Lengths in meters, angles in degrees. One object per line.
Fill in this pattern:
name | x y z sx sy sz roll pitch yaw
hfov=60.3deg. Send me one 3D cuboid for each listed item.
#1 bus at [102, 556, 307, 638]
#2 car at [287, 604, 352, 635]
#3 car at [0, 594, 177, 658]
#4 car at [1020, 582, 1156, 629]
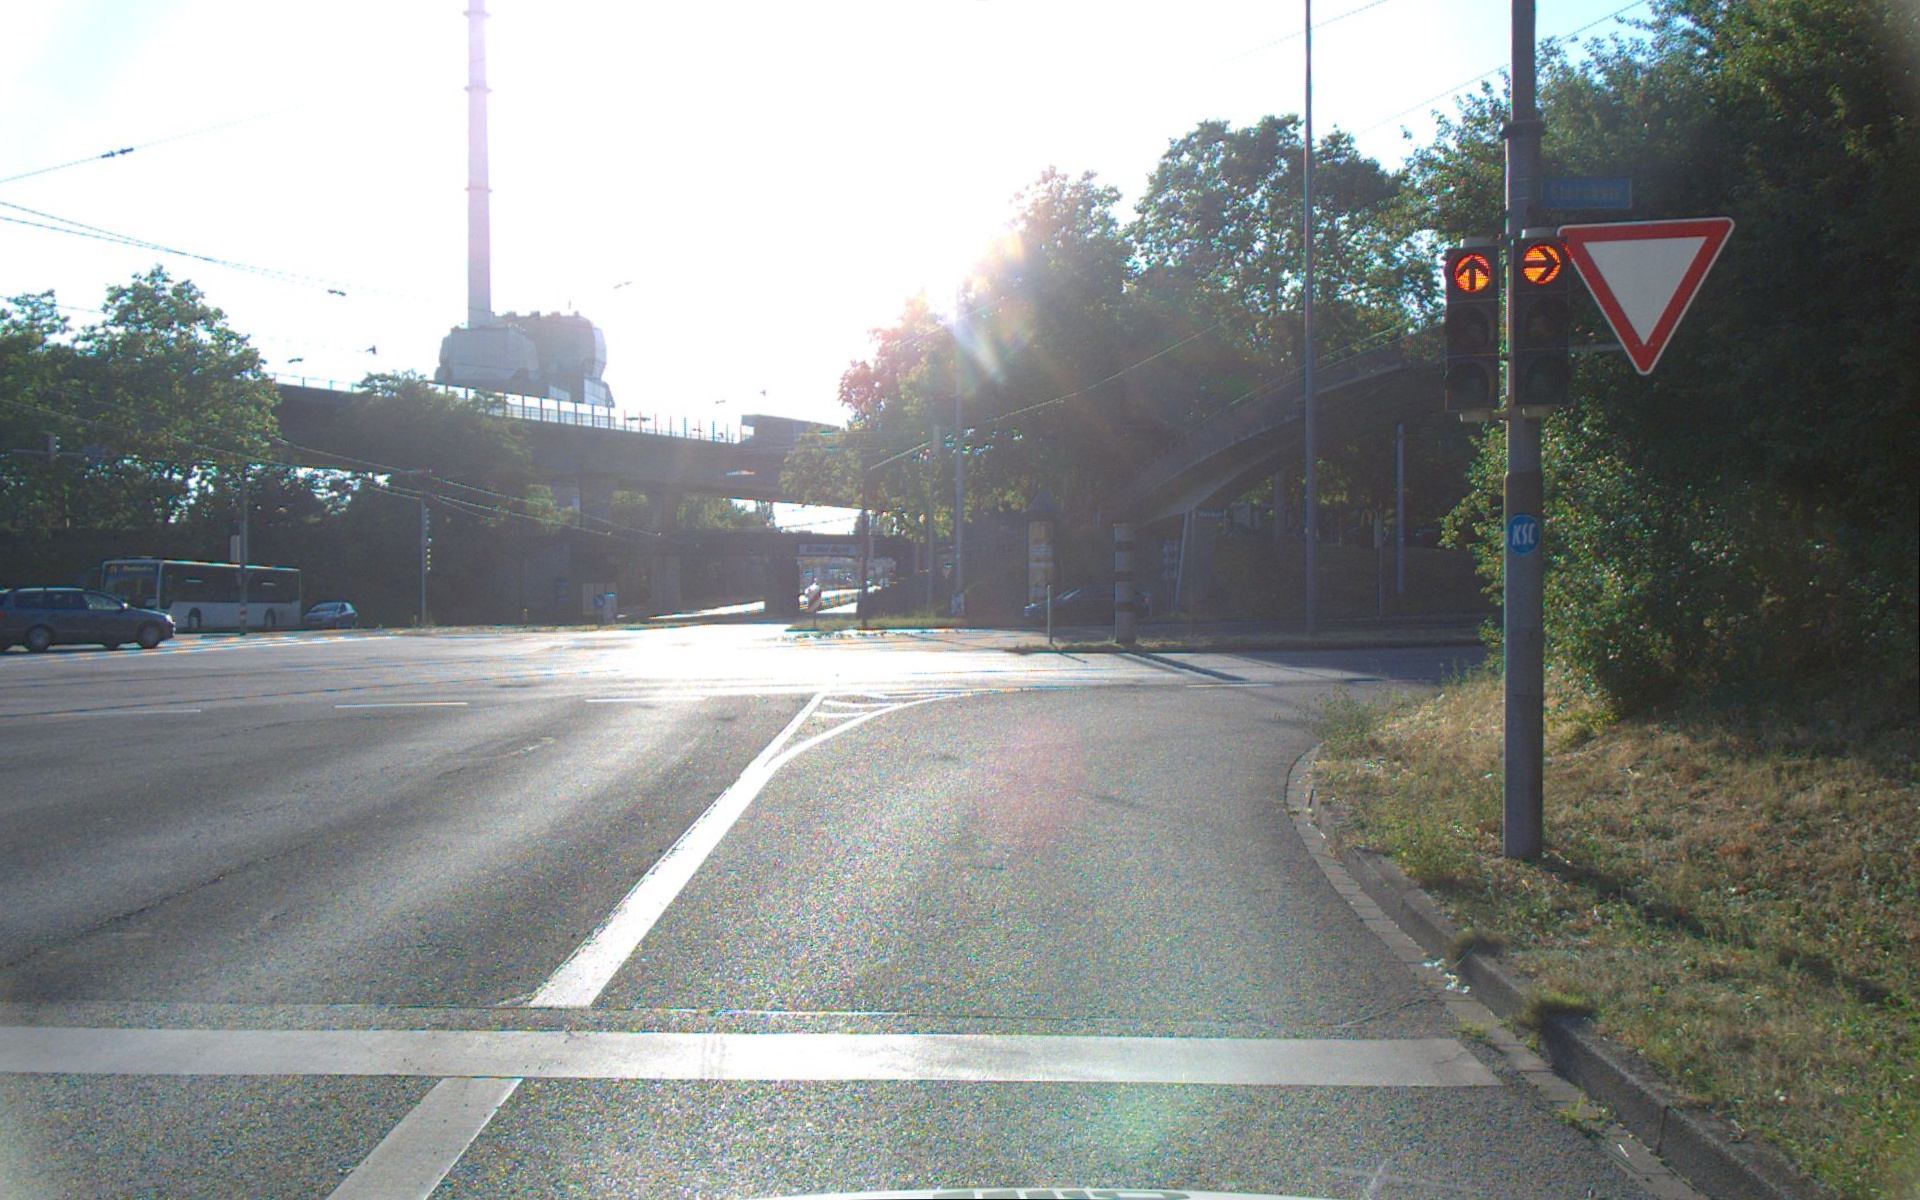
bus | -31.929 -0.017 70.759 2.491 3.185 12.919 -1 -1 2
car | -31.594 0.937 81.666 1.573 1.444 4.008 1 0 1
car | -21.020 0.575 38.975 1.636 1.429 4.431 1 0 34
car | 4.527 0.201 58.458 4.505 1.602 1.685 0 0 -18
